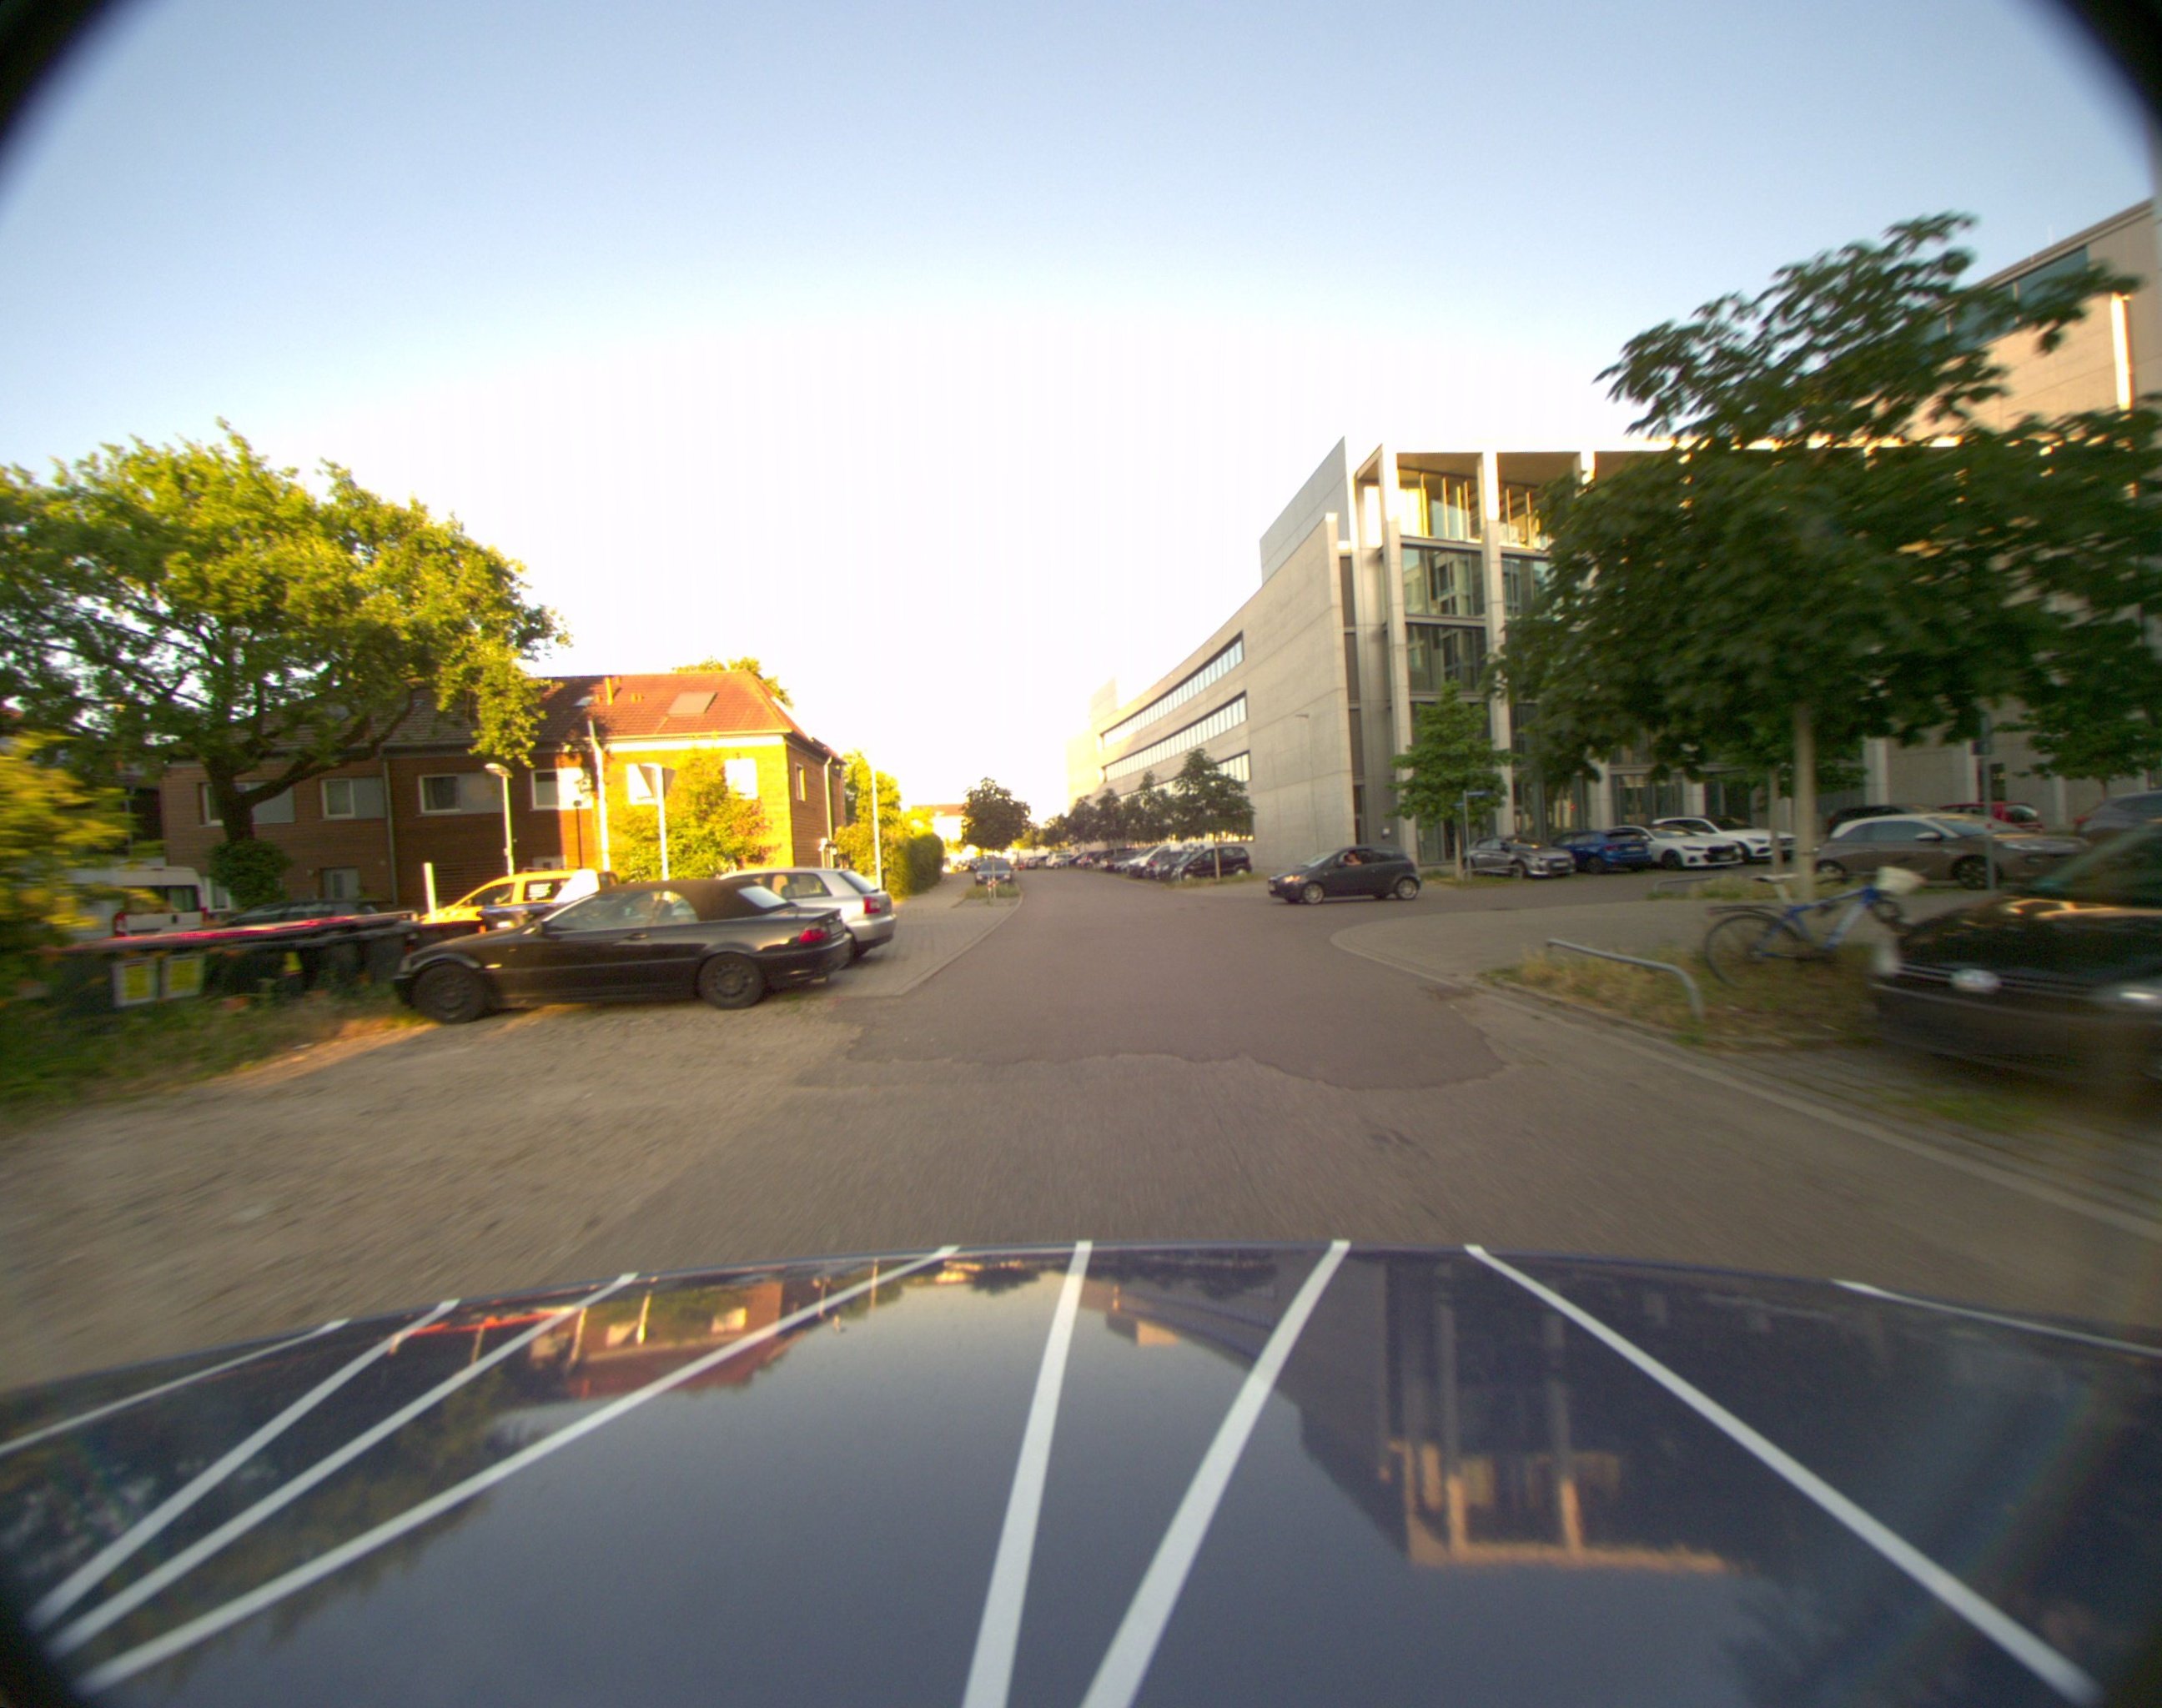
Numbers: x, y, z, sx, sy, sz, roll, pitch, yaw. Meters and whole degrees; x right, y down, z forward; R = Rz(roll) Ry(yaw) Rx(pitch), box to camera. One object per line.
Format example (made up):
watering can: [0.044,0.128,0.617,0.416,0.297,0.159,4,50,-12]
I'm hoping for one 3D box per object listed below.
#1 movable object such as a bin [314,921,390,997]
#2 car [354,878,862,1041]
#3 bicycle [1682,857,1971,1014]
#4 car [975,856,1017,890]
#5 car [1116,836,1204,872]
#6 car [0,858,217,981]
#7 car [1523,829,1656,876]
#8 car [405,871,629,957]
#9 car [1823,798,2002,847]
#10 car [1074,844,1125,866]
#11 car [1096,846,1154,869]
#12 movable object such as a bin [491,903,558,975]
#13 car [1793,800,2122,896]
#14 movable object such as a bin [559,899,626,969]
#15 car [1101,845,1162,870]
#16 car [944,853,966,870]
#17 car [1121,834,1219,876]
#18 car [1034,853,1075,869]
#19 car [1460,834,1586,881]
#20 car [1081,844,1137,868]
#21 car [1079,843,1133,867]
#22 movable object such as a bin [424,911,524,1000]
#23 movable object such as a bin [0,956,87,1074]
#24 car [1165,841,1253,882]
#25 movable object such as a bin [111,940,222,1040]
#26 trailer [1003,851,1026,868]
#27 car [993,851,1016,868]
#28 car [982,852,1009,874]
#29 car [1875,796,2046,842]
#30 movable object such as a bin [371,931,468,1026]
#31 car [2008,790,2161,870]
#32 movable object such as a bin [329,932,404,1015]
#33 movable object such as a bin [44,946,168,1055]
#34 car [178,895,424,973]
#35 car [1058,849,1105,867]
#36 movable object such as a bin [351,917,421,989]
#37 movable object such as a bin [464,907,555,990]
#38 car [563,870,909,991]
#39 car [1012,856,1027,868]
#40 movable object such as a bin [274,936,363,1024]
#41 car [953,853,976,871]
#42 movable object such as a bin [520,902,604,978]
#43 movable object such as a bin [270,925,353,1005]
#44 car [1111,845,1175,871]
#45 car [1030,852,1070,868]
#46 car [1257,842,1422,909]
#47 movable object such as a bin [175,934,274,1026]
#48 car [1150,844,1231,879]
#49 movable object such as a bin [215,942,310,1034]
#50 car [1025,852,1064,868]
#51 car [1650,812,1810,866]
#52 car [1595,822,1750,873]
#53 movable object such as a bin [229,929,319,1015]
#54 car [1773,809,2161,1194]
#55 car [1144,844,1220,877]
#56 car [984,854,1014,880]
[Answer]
movable object such as a bin: [-9.806,1.395,10.232,0.468,0.926,0.526,-3,1,-4]
car: [-4.869,1.052,8.427,4.328,1.326,1.895,-2,1,-5]
bicycle: [5.913,0.623,6.078,1.700,1.059,0.566,-4,1,0]
car: [-4.023,0.848,36.339,1.681,1.454,4.366,-3,0,-3]
car: [4.958,-0.013,48.089,5.084,1.817,1.888,-5,1,-7]
car: [-23.609,1.508,17.400,4.753,2.544,2.097,-3,-1,-8]
car: [17.270,-0.092,26.023,1.561,1.420,3.900,-4,2,-8]
car: [-13.640,1.408,18.605,3.953,1.755,1.782,-3,-1,-8]
car: [29.639,-1.097,27.293,1.649,1.565,4.133,-4,2,-8]
car: [1.594,0.070,65.919,4.029,1.574,1.797,-5,1,-13]
car: [3.173,0.263,55.305,3.813,1.353,1.798,-5,1,-7]
movable object such as a bin: [-8.569,1.301,11.725,0.645,1.015,0.446,-4,1,-11]
car: [16.296,-0.085,14.451,1.730,1.487,3.722,-4,0,-6]
movable object such as a bin: [-7.869,1.268,12.269,0.645,1.015,0.711,-4,1,-11]
car: [3.485,0.217,52.803,3.813,1.353,1.798,-5,1,-7]
car: [-12.191,0.716,73.572,1.771,1.454,4.365,-3,0,-6]
car: [5.021,0.064,43.105,5.084,1.870,1.888,-5,1,-7]
car: [-2.791,0.697,80.570,4.029,1.340,1.797,-5,1,-13]
car: [14.805,0.059,25.713,1.649,1.378,3.815,-4,2,-8]
car: [2.229,0.140,60.894,4.029,1.574,1.797,-5,1,-13]
car: [2.074,0.087,63.724,4.029,1.574,1.797,-5,1,-13]
movable object such as a bin: [-7.811,1.286,9.813,0.707,1.015,0.711,-4,1,-11]
movable object such as a bin: [-9.369,1.408,6.690,0.468,0.926,0.526,-3,1,-4]
car: [5.878,0.337,35.162,3.655,1.538,1.725,-5,1,-2]
movable object such as a bin: [-9.556,1.404,7.954,0.468,0.926,0.526,-3,1,-4]
trailer: [-6.748,0.519,76.706,1.701,1.611,3.760,-3,0,-13]
car: [-8.174,0.584,80.781,1.765,1.611,4.774,-3,0,-13]
car: [-6.174,0.629,55.017,1.771,1.454,4.365,-3,0,-6]
car: [32.224,-1.241,28.013,1.649,1.497,3.854,-4,2,-8]
movable object such as a bin: [-7.943,1.480,9.145,0.623,1.015,0.561,-3,1,-8]
car: [23.450,-0.549,16.210,1.730,1.642,4.370,-4,0,-6]
movable object such as a bin: [-8.095,1.345,8.619,0.415,0.852,0.396,-3,1,-8]
movable object such as a bin: [-9.434,1.404,7.370,0.468,0.926,0.526,-3,1,-4]
car: [-18.436,1.848,18.147,3.608,1.446,1.957,-3,-1,-8]
car: [0.024,0.352,70.710,4.029,1.340,1.797,-5,1,-13]
movable object such as a bin: [-9.856,1.392,10.788,0.468,0.926,0.526,-3,1,-4]
movable object such as a bin: [-7.879,1.283,10.515,0.707,1.015,0.711,-4,1,-11]
car: [-4.693,1.008,10.896,4.067,1.399,1.895,-2,0,-5]
car: [-8.594,1.059,105.481,1.799,1.442,4.026,-5,1,-7]
movable object such as a bin: [-8.250,1.355,8.232,0.500,0.852,0.396,-3,1,-2]
car: [-10.157,0.691,66.532,1.771,1.454,4.365,-3,0,-6]
movable object such as a bin: [-7.758,1.271,11.385,0.758,1.015,0.711,-4,1,-11]
movable object such as a bin: [-9.782,1.399,9.676,0.468,0.926,0.526,-3,1,-4]
car: [4.085,0.266,50.110,3.813,1.353,1.798,-5,1,-7]
car: [-3.372,0.688,83.100,4.029,1.340,1.797,-5,1,-13]
car: [6.823,0.549,20.262,3.735,1.486,1.648,-3,1,-5]
movable object such as a bin: [-9.643,1.403,8.574,0.468,0.926,0.526,-3,1,-4]
car: [5.413,0.357,37.799,3.655,1.416,1.725,-5,1,-2]
movable object such as a bin: [-8.387,1.365,7.800,0.477,0.852,0.396,-3,1,-2]
car: [-4.094,0.676,85.491,4.029,1.340,1.797,-5,1,-13]
car: [22.269,-0.537,26.296,1.649,1.619,4.133,-4,2,-8]
car: [19.752,-0.265,25.631,1.649,1.483,4.133,-4,2,-8]
movable object such as a bin: [-9.697,1.400,9.141,0.468,0.926,0.526,-3,1,-4]
car: [6.452,0.505,3.904,4.119,1.510,1.844,-4,0,-3]
car: [5.323,0.344,40.443,3.655,1.416,1.725,-5,1,-3]
car: [-5.222,0.793,48.495,1.771,1.454,4.365,-3,0,-6]
